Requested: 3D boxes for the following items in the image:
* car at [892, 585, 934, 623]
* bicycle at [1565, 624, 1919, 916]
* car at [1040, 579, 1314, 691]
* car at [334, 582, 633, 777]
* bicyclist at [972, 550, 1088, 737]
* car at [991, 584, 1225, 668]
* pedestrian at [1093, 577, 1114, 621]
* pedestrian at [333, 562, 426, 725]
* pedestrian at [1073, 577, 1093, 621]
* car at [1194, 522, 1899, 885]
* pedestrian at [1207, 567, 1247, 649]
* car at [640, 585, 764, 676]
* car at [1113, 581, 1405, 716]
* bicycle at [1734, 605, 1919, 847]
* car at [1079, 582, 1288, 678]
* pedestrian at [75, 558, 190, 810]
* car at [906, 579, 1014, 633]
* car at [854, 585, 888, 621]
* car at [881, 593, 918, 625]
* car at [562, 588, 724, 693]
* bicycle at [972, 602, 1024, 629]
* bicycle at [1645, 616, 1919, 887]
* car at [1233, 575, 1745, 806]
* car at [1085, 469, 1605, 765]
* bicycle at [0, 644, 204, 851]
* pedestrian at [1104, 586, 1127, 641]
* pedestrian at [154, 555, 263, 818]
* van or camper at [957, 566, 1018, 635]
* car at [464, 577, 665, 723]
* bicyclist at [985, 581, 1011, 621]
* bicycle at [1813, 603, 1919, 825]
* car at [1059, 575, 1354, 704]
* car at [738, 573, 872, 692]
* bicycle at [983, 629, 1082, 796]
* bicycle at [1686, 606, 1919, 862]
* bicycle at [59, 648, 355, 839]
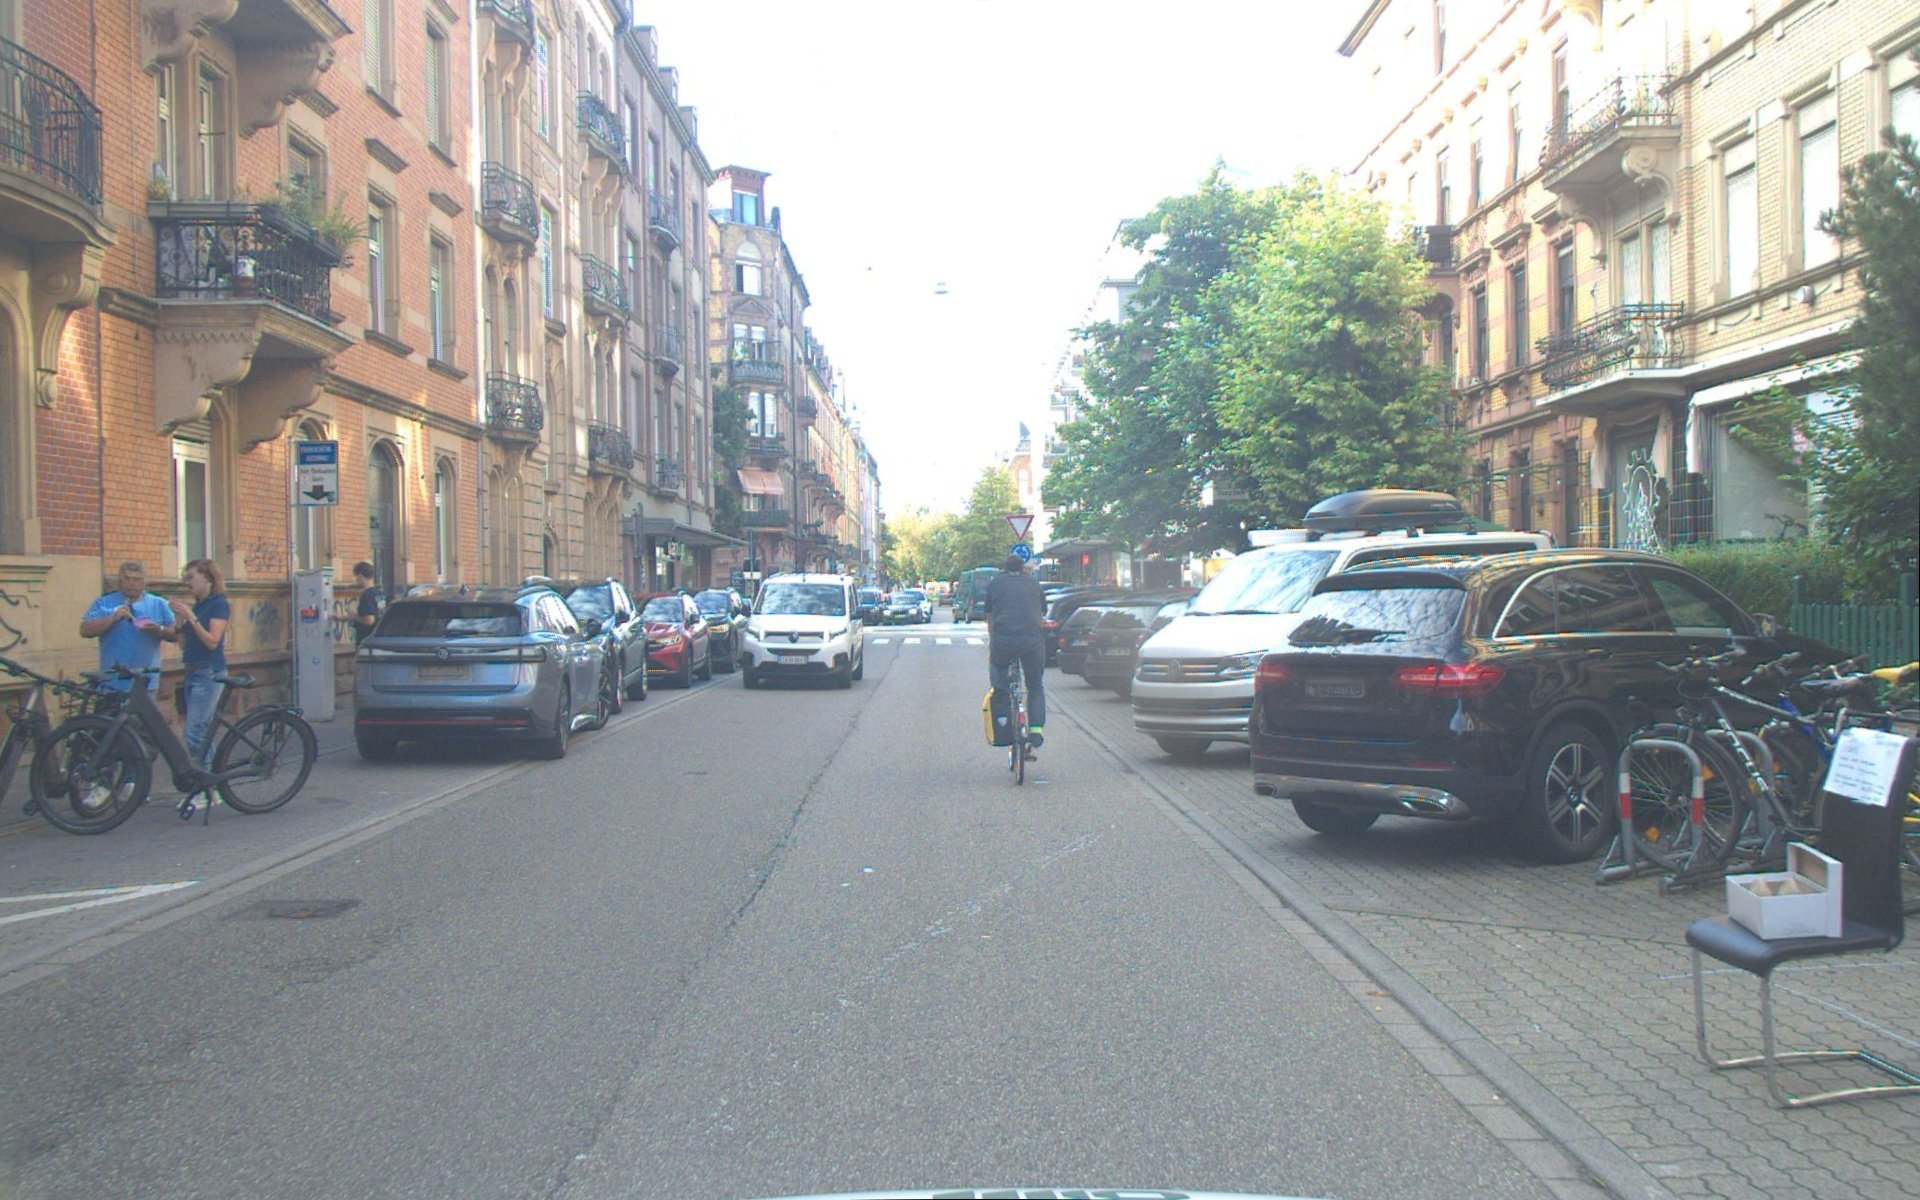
[{"bbox_3d":[-2.464,0.173,87.187,1.902,1.752,4.851,-3,2,1],"label":"car"},{"bbox_3d":[3.742,0.721,7.658,0.400,1.203,1.897,-2,0,-32],"label":"bicycle"},{"bbox_3d":[3.634,0.528,27.365,4.420,1.489,1.856,-4,2,-36],"label":"car"},{"bbox_3d":[-4.467,0.652,16.356,1.789,1.606,5.259,0,0,-4],"label":"car"},{"bbox_3d":[0.571,0.355,13.746,0.914,1.510,0.747,0,0,-2],"label":"bicyclist"},{"bbox_3d":[3.221,0.520,35.780,4.702,1.482,2.037,-4,2,-29],"label":"car"},{"bbox_3d":[6.241,-0.057,72.047,0.850,1.883,0.613,-1,0,4],"label":"pedestrian"},{"bbox_3d":[-6.726,0.489,19.202,0.740,1.839,0.863,0,0,3],"label":"pedestrian"},{"bbox_3d":[5.371,-0.034,72.113,0.850,1.883,0.613,-1,0,4],"label":"pedestrian"},{"bbox_3d":[3.707,0.476,10.147,4.408,1.762,1.975,-1,1,-36],"label":"car"},{"bbox_3d":[6.371,0.180,39.454,0.822,1.911,0.723,-1,0,3],"label":"pedestrian"},{"bbox_3d":[-5.094,0.578,33.210,1.754,1.657,4.846,-1,0,-1],"label":"car"},{"bbox_3d":[3.995,0.578,21.735,3.962,1.484,1.724,-3,1,-43],"label":"car"},{"bbox_3d":[4.941,0.634,8.446,0.400,1.203,1.848,-2,0,-32],"label":"bicycle"},{"bbox_3d":[4.124,0.511,30.255,3.684,1.511,1.717,-3,1,-39],"label":"car"},{"bbox_3d":[-5.762,0.561,11.513,0.672,1.690,0.545,0,0,-31],"label":"pedestrian"},{"bbox_3d":[-0.018,0.219,60.551,3.906,1.915,1.999,0,0,-2],"label":"car"},{"bbox_3d":[-5.314,0.181,98.700,1.954,2.049,3.998,-2,0,-3],"label":"car"},{"bbox_3d":[-2.873,0.438,78.355,1.715,1.461,4.209,0,-1,-2],"label":"car"},{"bbox_3d":[-5.207,0.626,27.736,1.953,1.572,4.425,-1,0,-2],"label":"car"},{"bbox_3d":[1.620,0.654,70.988,2.141,1.111,0.677,1,0,25],"label":"bicycle"},{"bbox_3d":[4.226,0.688,7.905,0.400,1.203,1.848,-2,0,-32],"label":"bicycle"},{"bbox_3d":[4.337,0.589,13.327,4.190,1.576,1.849,-1,1,-36],"label":"car"},{"bbox_3d":[3.810,0.073,15.938,5.099,2.447,1.895,-2,0,-34],"label":"car"},{"bbox_3d":[-5.511,0.859,10.308,0.482,1.114,1.906,1,0,8],"label":"bicycle"},{"bbox_3d":[5.063,0.423,53.853,0.615,1.769,0.776,-1,0,11],"label":"pedestrian"},{"bbox_3d":[-5.181,0.572,11.394,0.559,1.739,0.659,0,0,-36],"label":"pedestrian"},{"bbox_3d":[1.230,0.011,76.598,2.481,3.090,4.456,-1,0,-3],"label":"van or camper"},{"bbox_3d":[-5.107,0.561,22.001,1.836,1.710,4.890,0,1,-4],"label":"car"},{"bbox_3d":[1.629,0.025,70.993,0.838,1.695,0.789,0,0,28],"label":"bicyclist"},{"bbox_3d":[5.655,0.606,8.722,0.799,1.166,1.916,-2,0,-30],"label":"bicycle"},{"bbox_3d":[3.713,0.521,24.464,4.430,1.502,1.861,-5,2,-41],"label":"car"},{"bbox_3d":[-2.535,0.501,28.031,1.878,1.860,4.437,0,0,0],"label":"car"},{"bbox_3d":[0.564,0.867,13.661,0.652,1.198,2.496,0,0,-1],"label":"bicycle"},{"bbox_3d":[4.568,0.639,8.197,0.400,1.203,1.848,-2,0,-32],"label":"bicycle"},{"bbox_3d":[-4.773,0.867,10.641,0.472,1.078,1.904,1,0,23],"label":"bicycle"}]
